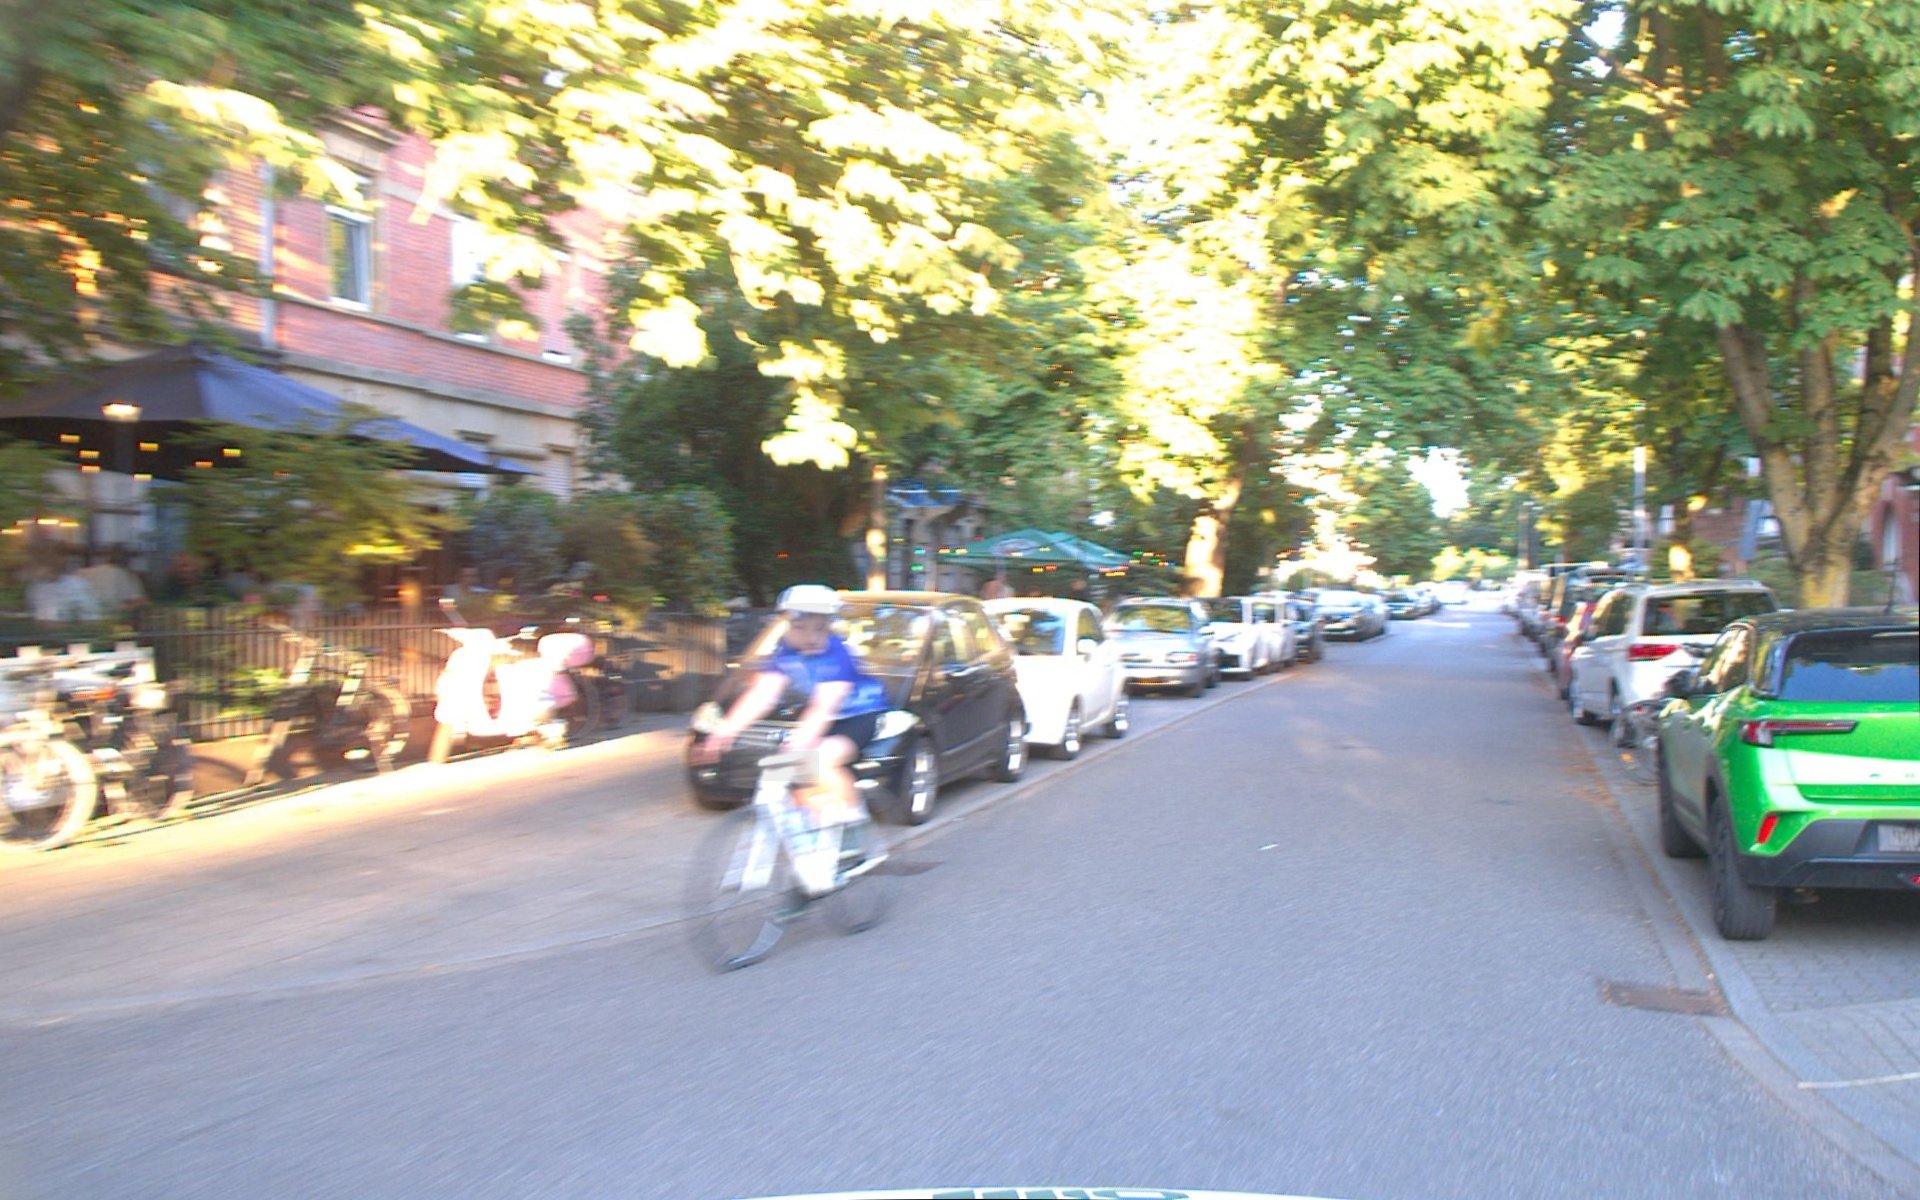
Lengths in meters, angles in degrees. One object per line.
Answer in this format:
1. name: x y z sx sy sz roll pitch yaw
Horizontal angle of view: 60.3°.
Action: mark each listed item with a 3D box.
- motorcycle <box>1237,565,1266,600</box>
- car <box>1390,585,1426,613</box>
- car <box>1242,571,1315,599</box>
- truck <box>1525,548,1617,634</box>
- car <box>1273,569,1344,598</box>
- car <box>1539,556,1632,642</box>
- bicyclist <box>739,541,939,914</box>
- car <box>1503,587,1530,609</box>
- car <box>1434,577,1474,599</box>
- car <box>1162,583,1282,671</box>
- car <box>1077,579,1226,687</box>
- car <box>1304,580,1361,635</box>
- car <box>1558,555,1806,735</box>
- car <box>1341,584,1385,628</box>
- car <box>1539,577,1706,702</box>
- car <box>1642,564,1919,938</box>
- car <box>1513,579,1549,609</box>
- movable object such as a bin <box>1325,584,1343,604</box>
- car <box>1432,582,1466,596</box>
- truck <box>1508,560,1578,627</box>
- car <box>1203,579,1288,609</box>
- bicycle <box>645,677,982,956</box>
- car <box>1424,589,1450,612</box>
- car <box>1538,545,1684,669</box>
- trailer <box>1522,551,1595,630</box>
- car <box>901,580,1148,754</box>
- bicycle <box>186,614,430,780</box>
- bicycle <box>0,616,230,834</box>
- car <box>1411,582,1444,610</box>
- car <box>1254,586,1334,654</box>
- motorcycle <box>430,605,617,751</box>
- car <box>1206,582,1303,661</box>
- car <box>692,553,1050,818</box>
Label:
1. motorcycle: 10.386 -0.626 58.893 0.570 1.176 2.893 2 2 18
2. car: 24.798 -0.068 91.441 1.583 1.496 3.962 0 1 20
3. car: 17.143 -0.833 89.006 3.494 1.472 1.815 1 2 27
4. truck: 17.593 -0.278 47.824 1.912 2.285 4.649 -3 0 14
5. car: 21.233 -1.008 100.654 4.007 1.554 1.710 3 1 17
6. car: 15.777 -0.070 41.904 1.800 1.976 4.617 -3 0 17
7. bicyclist: -0.543 0.535 7.587 0.499 1.604 0.821 0 1 34
8. car: 38.675 -0.166 114.912 1.651 1.466 4.212 -2 0 18
9. car: 55.001 -1.349 184.187 4.258 2.358 1.747 0 1 17
10. car: 4.988 0.455 31.077 1.570 1.460 3.887 3 2 18
11. car: 3.104 0.444 25.998 1.801 1.436 4.605 3 2 12
12. car: 12.107 0.198 53.573 1.654 1.590 4.406 3 2 14
13. car: 7.826 0.423 18.307 1.629 1.708 4.123 -3 0 12
14. car: 15.252 0.195 62.529 1.518 1.507 3.697 3 2 14
15. car: 9.127 0.495 23.050 1.629 1.526 3.697 -3 0 14
16. car: 4.891 0.633 9.038 1.694 1.584 3.965 -3 0 17
17. car: 34.705 -0.349 100.548 1.760 1.741 4.604 0 0 15
18. movable object such as a bin: 26.115 -0.418 115.530 0.992 1.344 1.005 2 2 23
19. car: 53.724 -1.238 181.907 3.541 1.487 1.608 0 1 15
20. truck: 21.033 -0.223 59.901 1.935 2.284 6.781 0 0 16
21. car: 14.590 -0.335 84.560 4.013 1.472 1.707 1 2 27
22. bicycle: -0.600 0.907 7.556 0.527 1.052 1.902 -1 -1 31
23. car: 34.686 0.009 120.188 1.680 1.593 3.790 0 1 18
24. car: 12.327 0.090 31.611 1.912 2.094 4.834 -3 0 14
25. trailer: 19.150 -0.309 53.060 1.913 2.335 4.647 -3 0 18
26. car: 0.784 0.596 17.220 1.629 1.519 3.712 3 2 17
27. bicycle: -4.998 0.704 12.817 0.384 1.164 1.954 2 1 27
28. bicycle: -5.437 0.730 10.225 0.383 1.206 1.957 3 1 21
29. car: 30.326 -0.261 107.268 1.881 1.747 4.430 0 1 18
30. car: 7.937 0.440 39.101 1.518 1.511 3.696 -1 1 16
31. motorcycle: -3.876 0.662 14.853 0.384 1.206 1.954 2 1 28
32. car: 6.365 0.419 35.513 1.519 1.511 3.696 3 2 18
33. car: -0.531 0.535 13.104 1.629 1.706 3.850 3 2 16
